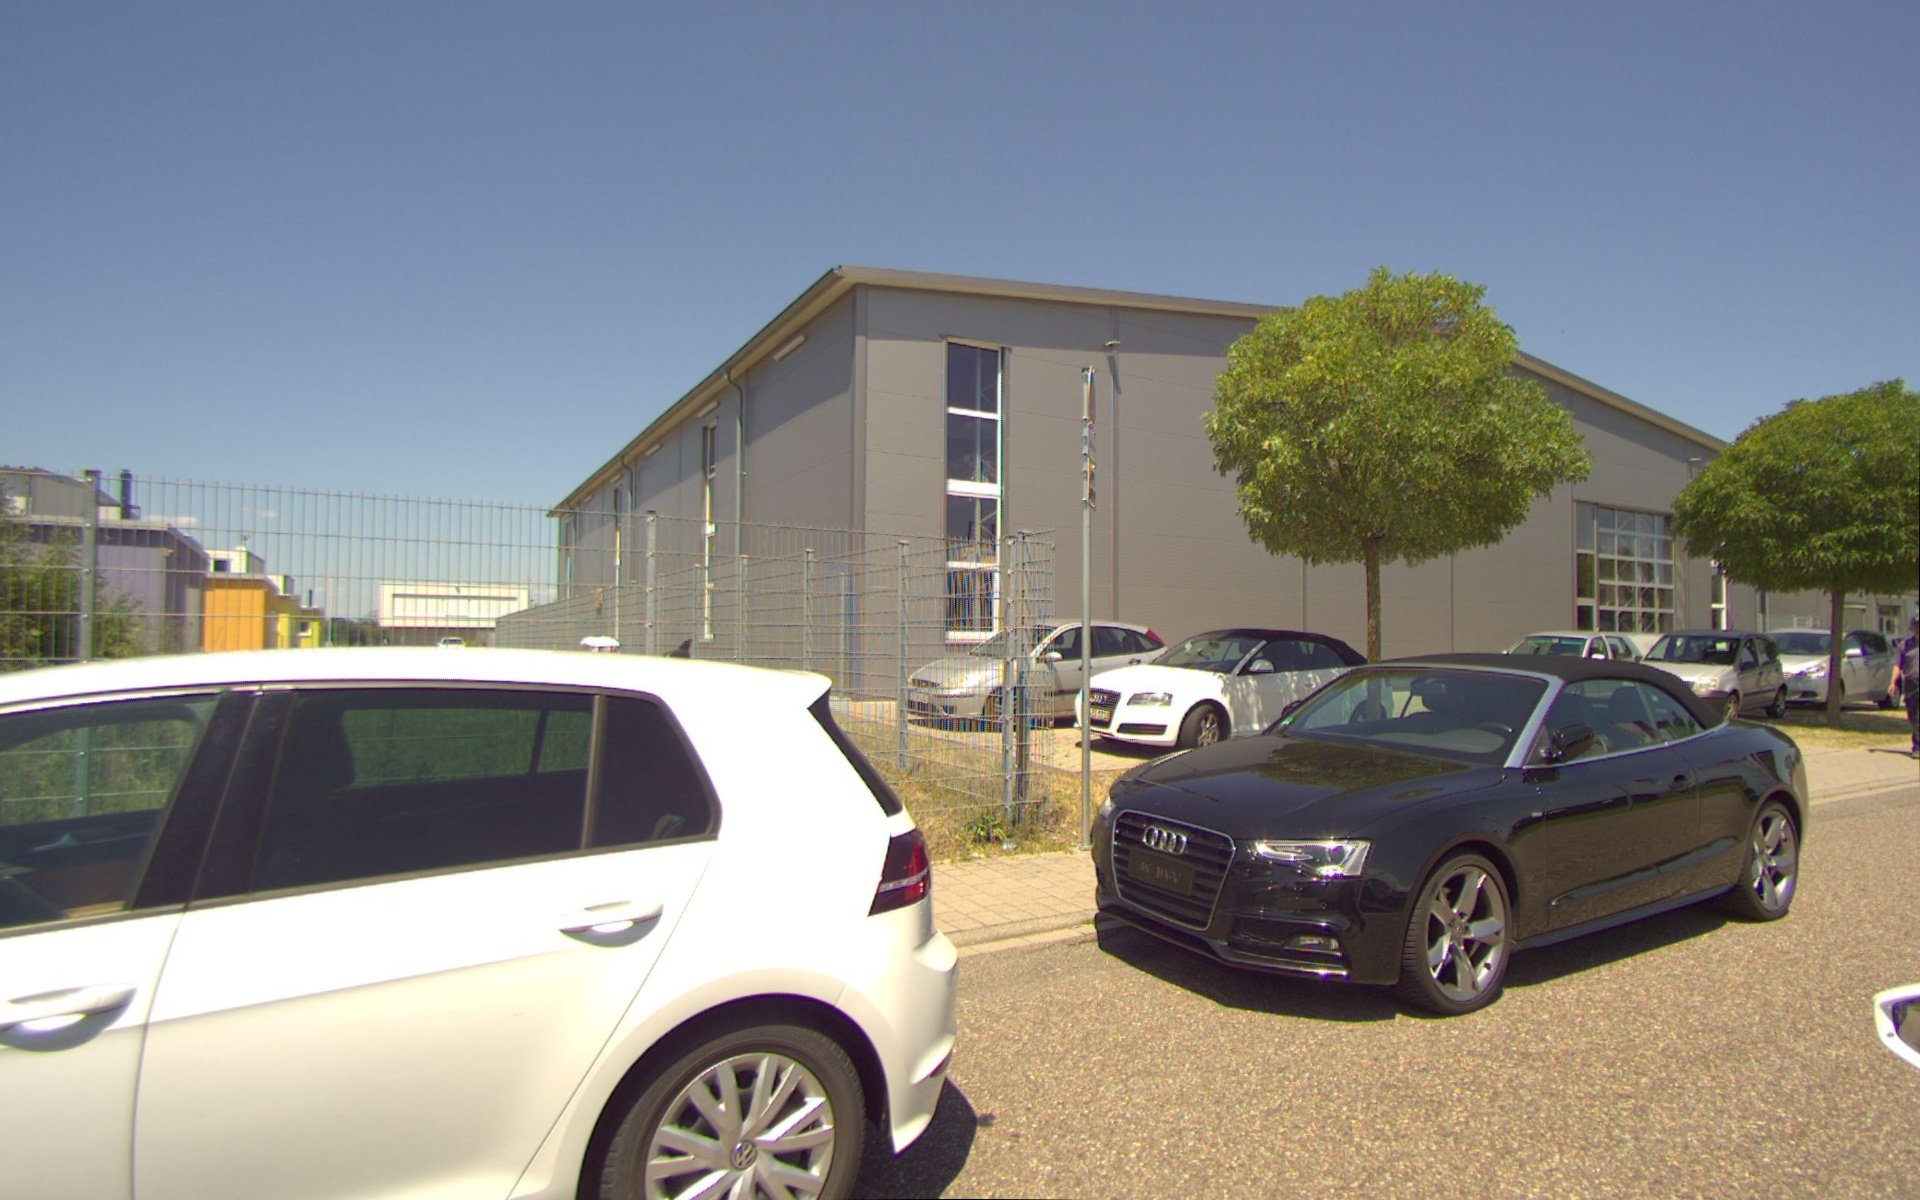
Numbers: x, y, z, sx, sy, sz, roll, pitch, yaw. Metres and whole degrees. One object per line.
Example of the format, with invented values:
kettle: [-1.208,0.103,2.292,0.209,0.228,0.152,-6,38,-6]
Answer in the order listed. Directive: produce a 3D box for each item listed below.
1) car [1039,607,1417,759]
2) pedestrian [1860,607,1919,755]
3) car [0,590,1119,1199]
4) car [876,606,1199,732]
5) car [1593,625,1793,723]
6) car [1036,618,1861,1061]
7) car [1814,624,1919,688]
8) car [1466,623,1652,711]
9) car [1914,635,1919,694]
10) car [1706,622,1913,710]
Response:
car: [3.229,0.890,11.955,4.273,1.520,1.817,1,0,-28]
pedestrian: [12.330,1.023,12.933,1.120,1.825,0.741,1,0,-28]
car: [-1.836,0.786,2.446,4.208,1.519,1.816,2,-3,-30]
car: [1.115,0.899,14.088,4.206,1.520,1.817,1,0,-28]
car: [12.615,1.203,17.237,3.667,1.520,1.672,2,-2,-35]
car: [2.755,0.917,5.405,4.472,1.519,1.816,2,-3,-30]
car: [25.828,1.523,27.980,4.295,1.649,1.728,2,-1,-29]
car: [11.565,1.234,19.338,3.666,1.520,1.672,2,-1,-34]
car: [26.252,1.676,25.614,3.793,1.473,1.758,2,-1,-29]
car: [17.102,1.272,20.175,4.485,1.594,1.758,2,-1,-30]
